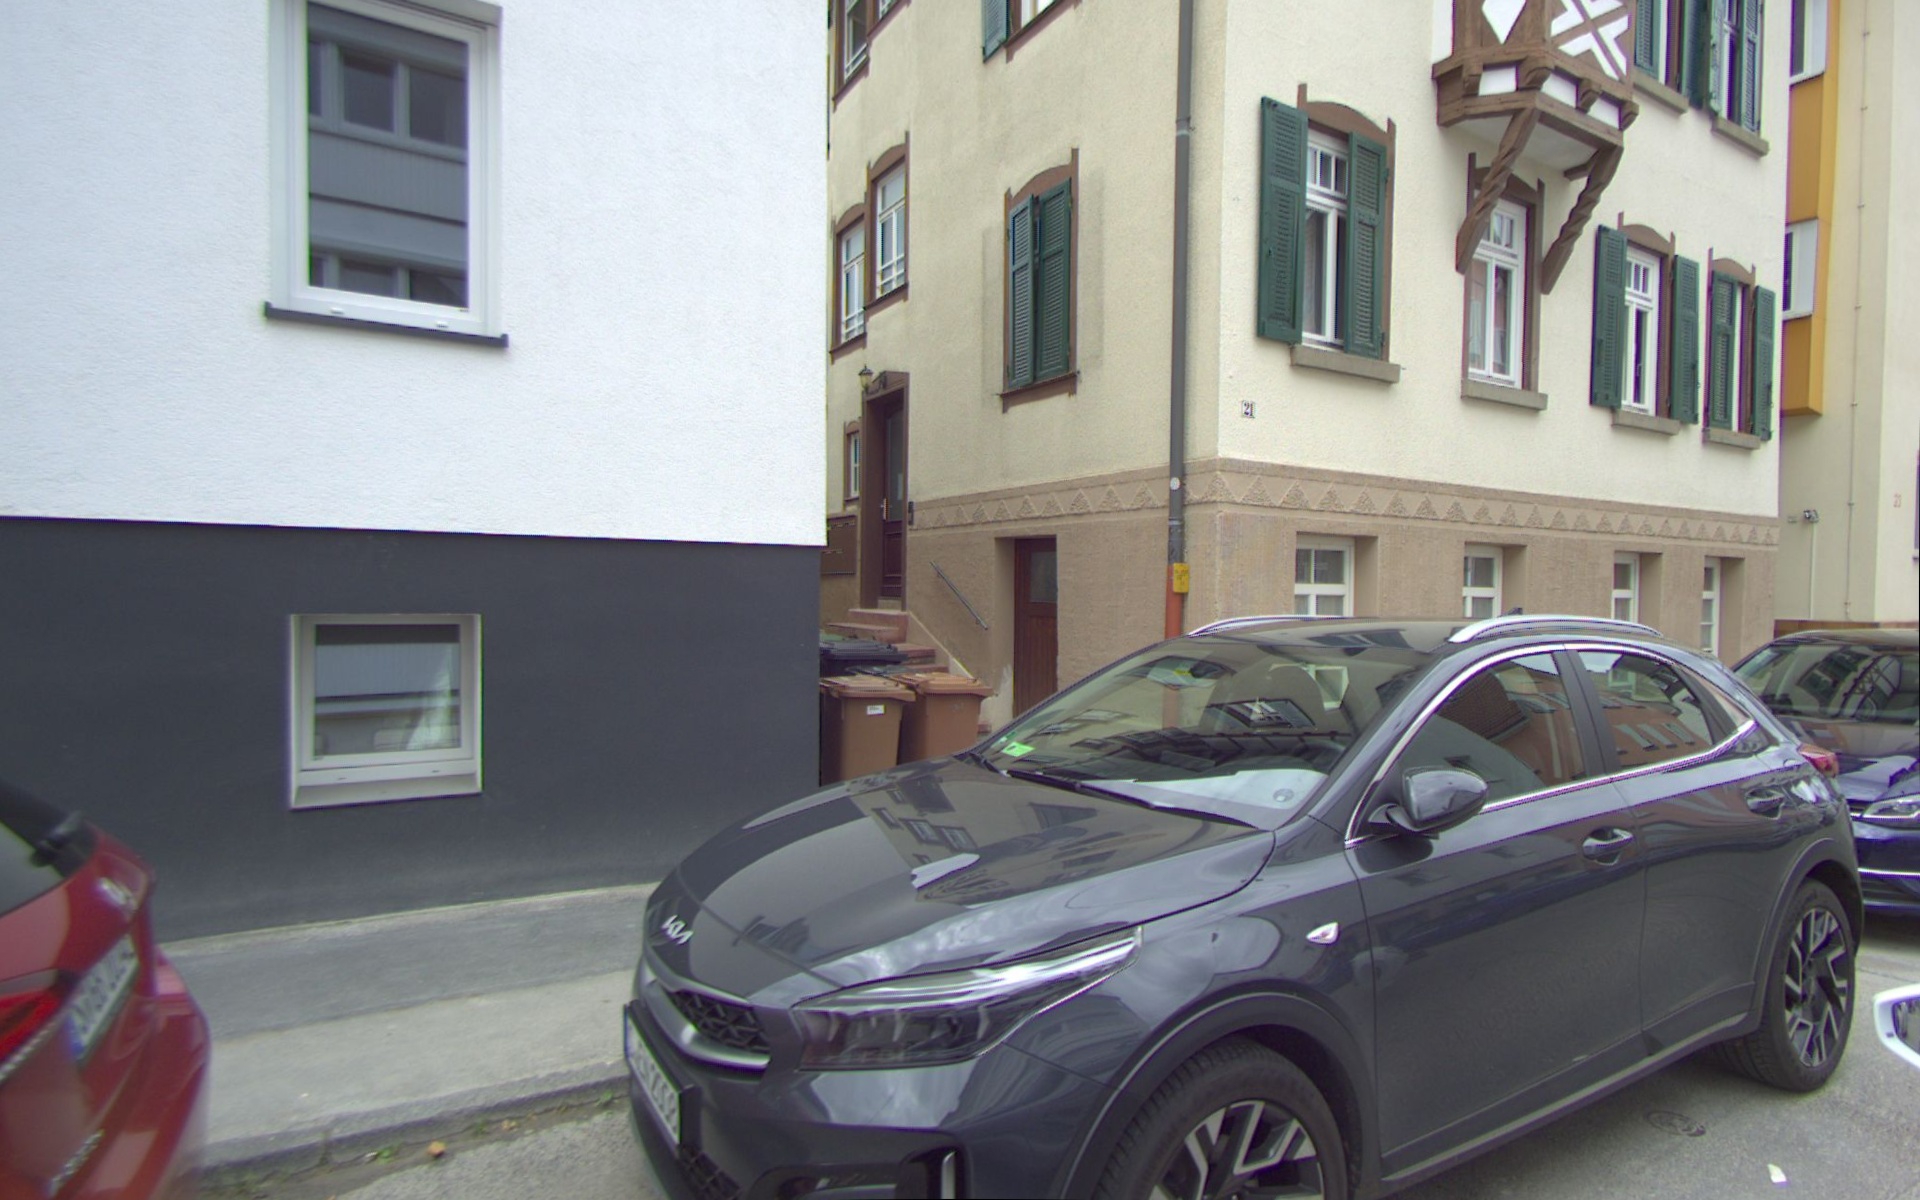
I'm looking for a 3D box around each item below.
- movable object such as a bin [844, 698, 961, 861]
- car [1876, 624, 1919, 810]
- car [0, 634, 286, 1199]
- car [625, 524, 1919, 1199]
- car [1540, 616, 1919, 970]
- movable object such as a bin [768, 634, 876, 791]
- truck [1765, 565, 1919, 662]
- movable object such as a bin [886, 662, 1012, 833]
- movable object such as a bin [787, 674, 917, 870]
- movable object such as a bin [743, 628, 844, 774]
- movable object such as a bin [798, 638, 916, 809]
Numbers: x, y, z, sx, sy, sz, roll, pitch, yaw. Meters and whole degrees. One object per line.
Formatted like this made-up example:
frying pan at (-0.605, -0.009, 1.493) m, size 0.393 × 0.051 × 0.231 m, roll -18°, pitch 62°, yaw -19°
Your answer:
movable object such as a bin at (-0.384, 1.165, 6.676) m, size 0.597 × 0.944 × 0.511 m, roll 0°, pitch 2°, yaw -31°
car at (9.636, 0.956, 8.424) m, size 4.320 × 1.451 × 1.743 m, roll 2°, pitch -3°, yaw -31°
car at (-2.993, 0.742, 0.727) m, size 4.021 × 1.468 × 1.743 m, roll 2°, pitch -3°, yaw -31°
car at (1.197, 0.739, 3.208) m, size 4.037 × 1.529 × 1.743 m, roll 2°, pitch -2°, yaw -30°
car at (5.524, 0.890, 5.927) m, size 4.319 × 1.475 × 1.743 m, roll 2°, pitch -3°, yaw -30°
movable object such as a bin at (-1.057, 0.830, 7.671) m, size 0.660 × 1.101 × 0.511 m, roll 0°, pitch 2°, yaw -31°
truck at (26.561, 0.392, 27.868) m, size 2.297 × 2.586 × 6.219 m, roll 2°, pitch 0°, yaw -38°
movable object such as a bin at (-0.072, 0.886, 6.244) m, size 0.597 × 0.944 × 0.511 m, roll 0°, pitch 2°, yaw -31°
movable object such as a bin at (-0.642, 0.980, 5.930) m, size 0.597 × 1.029 × 0.511 m, roll 0°, pitch 2°, yaw -31°
movable object such as a bin at (-1.356, 0.794, 8.149) m, size 0.660 × 1.101 × 0.511 m, roll 0°, pitch 2°, yaw -31°
movable object such as a bin at (-0.730, 0.838, 7.060) m, size 0.660 × 1.101 × 0.511 m, roll 0°, pitch 2°, yaw -31°
